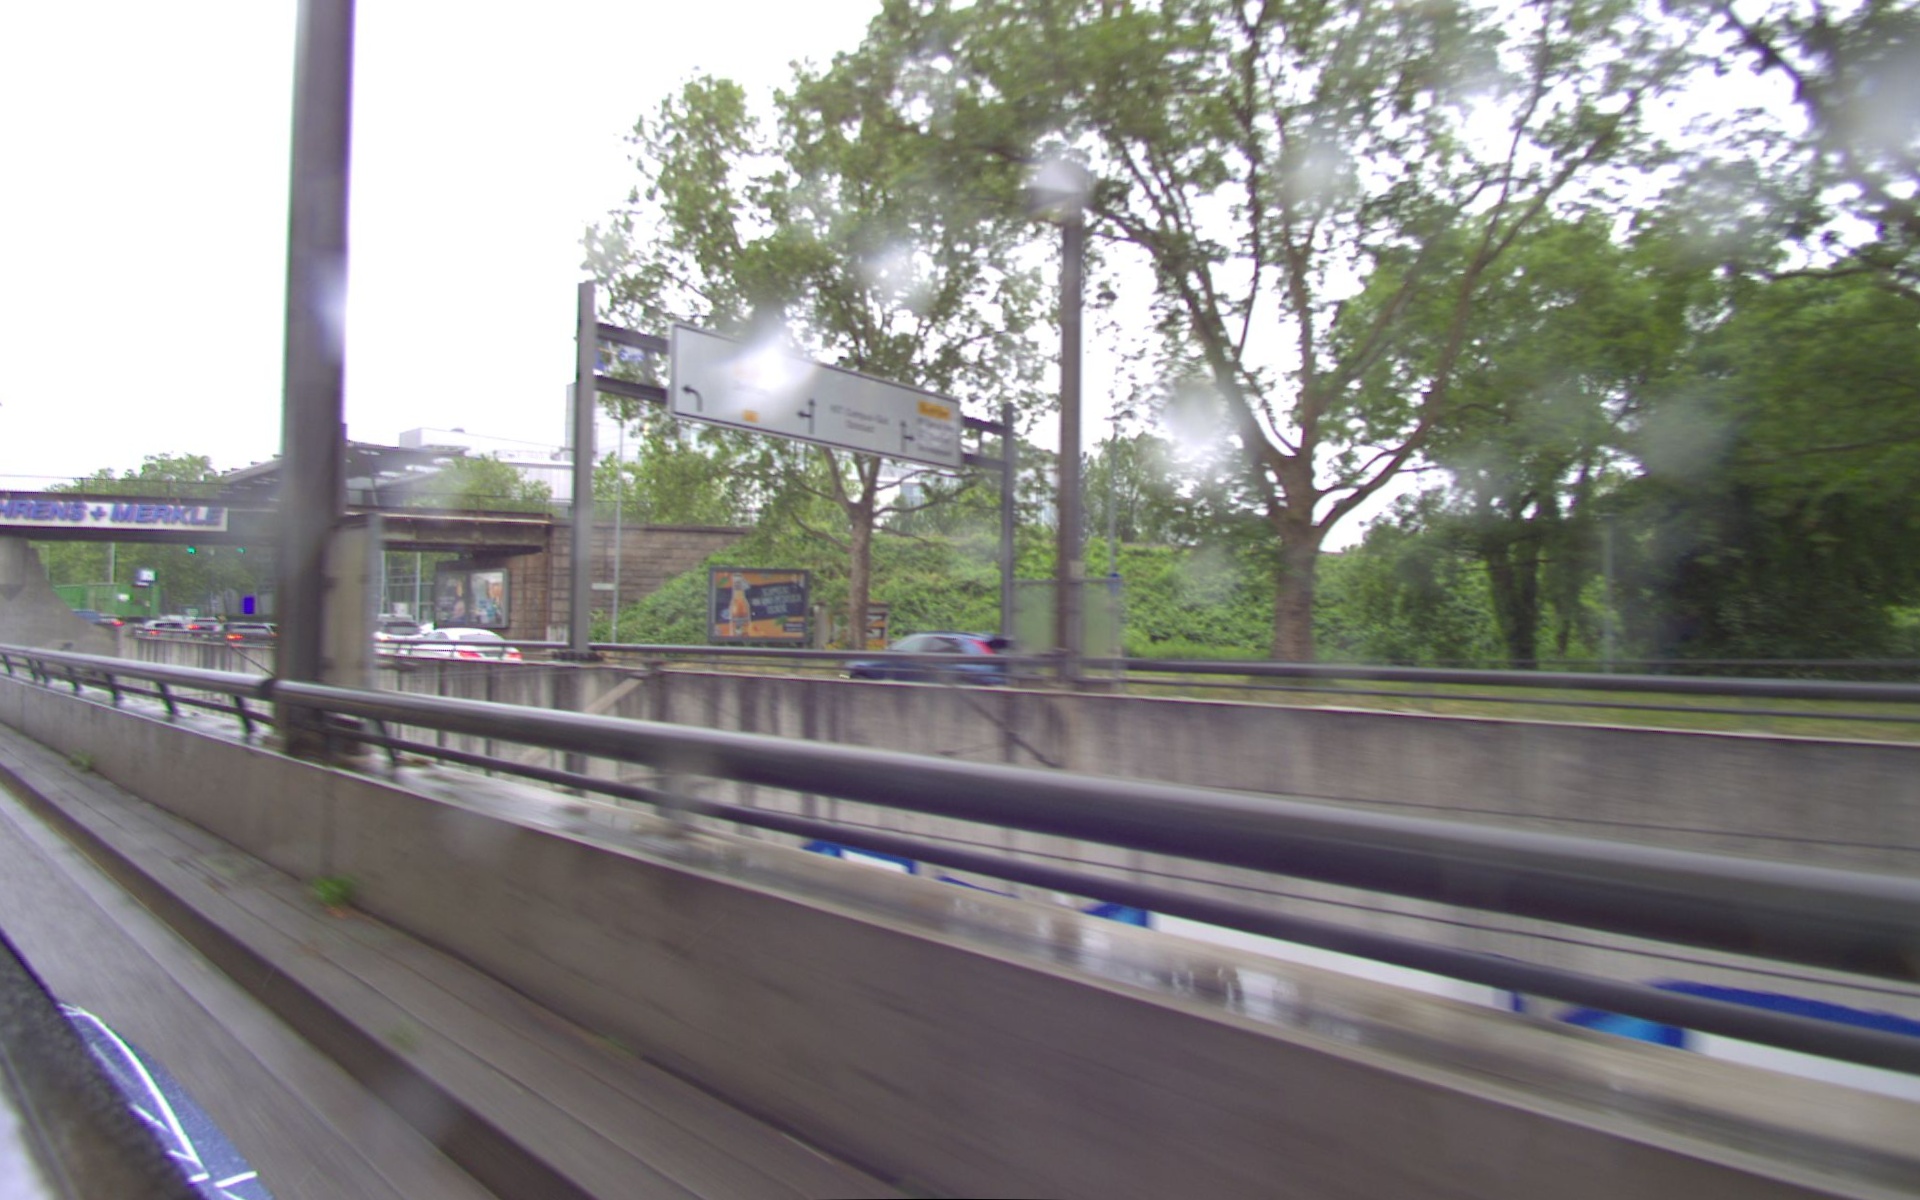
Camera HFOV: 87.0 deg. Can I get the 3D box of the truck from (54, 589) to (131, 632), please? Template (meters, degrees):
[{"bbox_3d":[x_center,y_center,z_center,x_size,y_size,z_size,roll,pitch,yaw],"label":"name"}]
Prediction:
[{"bbox_3d":[-70.485,0.891,82.203,6.511,3.334,3.345,-1,-1,36],"label":"truck"}]

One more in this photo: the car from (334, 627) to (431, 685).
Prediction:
[{"bbox_3d":[-21.907,2.067,38.345,3.997,2.029,1.973,-1,-1,41],"label":"car"}]

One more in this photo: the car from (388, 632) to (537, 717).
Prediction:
[{"bbox_3d":[-13.503,1.908,27.337,4.613,2.029,1.973,-1,-1,41],"label":"car"}]

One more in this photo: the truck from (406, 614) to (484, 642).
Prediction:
[{"bbox_3d":[-40.566,2.191,79.871,5.174,2.029,2.221,-1,0,-15],"label":"truck"}]

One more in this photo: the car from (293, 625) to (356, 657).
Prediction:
[{"bbox_3d":[-37.395,2.377,59.498,4.194,1.804,1.973,-1,-1,41],"label":"car"}]

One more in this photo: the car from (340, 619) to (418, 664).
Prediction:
[{"bbox_3d":[-28.020,1.960,48.767,4.194,2.029,1.973,-1,-1,41],"label":"car"}]

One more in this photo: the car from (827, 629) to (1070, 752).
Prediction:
[{"bbox_3d":[-0.307,1.610,19.487,4.508,2.029,1.973,-1,-1,41],"label":"car"}]

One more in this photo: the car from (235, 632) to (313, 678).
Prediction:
[{"bbox_3d":[-32.909,2.598,48.507,4.508,2.029,1.973,-1,-1,41],"label":"car"}]

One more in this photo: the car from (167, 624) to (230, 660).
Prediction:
[{"bbox_3d":[-42.957,2.335,57.064,4.364,1.944,1.973,-1,-1,41],"label":"car"}]

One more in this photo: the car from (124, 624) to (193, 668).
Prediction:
[{"bbox_3d":[-39.525,2.218,49.875,3.997,2.029,1.973,-1,-1,41],"label":"car"}]

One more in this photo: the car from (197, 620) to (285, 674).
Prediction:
[{"bbox_3d":[-29.022,1.840,40.819,3.997,2.029,1.973,-1,-1,41],"label":"car"}]

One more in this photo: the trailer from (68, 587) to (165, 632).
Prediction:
[{"bbox_3d":[-65.629,0.800,78.629,11.101,3.284,3.292,-1,-1,37],"label":"trailer"}]

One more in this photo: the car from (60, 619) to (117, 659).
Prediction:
[{"bbox_3d":[-52.557,2.326,61.005,4.364,2.260,1.973,-1,-1,41],"label":"car"}]
